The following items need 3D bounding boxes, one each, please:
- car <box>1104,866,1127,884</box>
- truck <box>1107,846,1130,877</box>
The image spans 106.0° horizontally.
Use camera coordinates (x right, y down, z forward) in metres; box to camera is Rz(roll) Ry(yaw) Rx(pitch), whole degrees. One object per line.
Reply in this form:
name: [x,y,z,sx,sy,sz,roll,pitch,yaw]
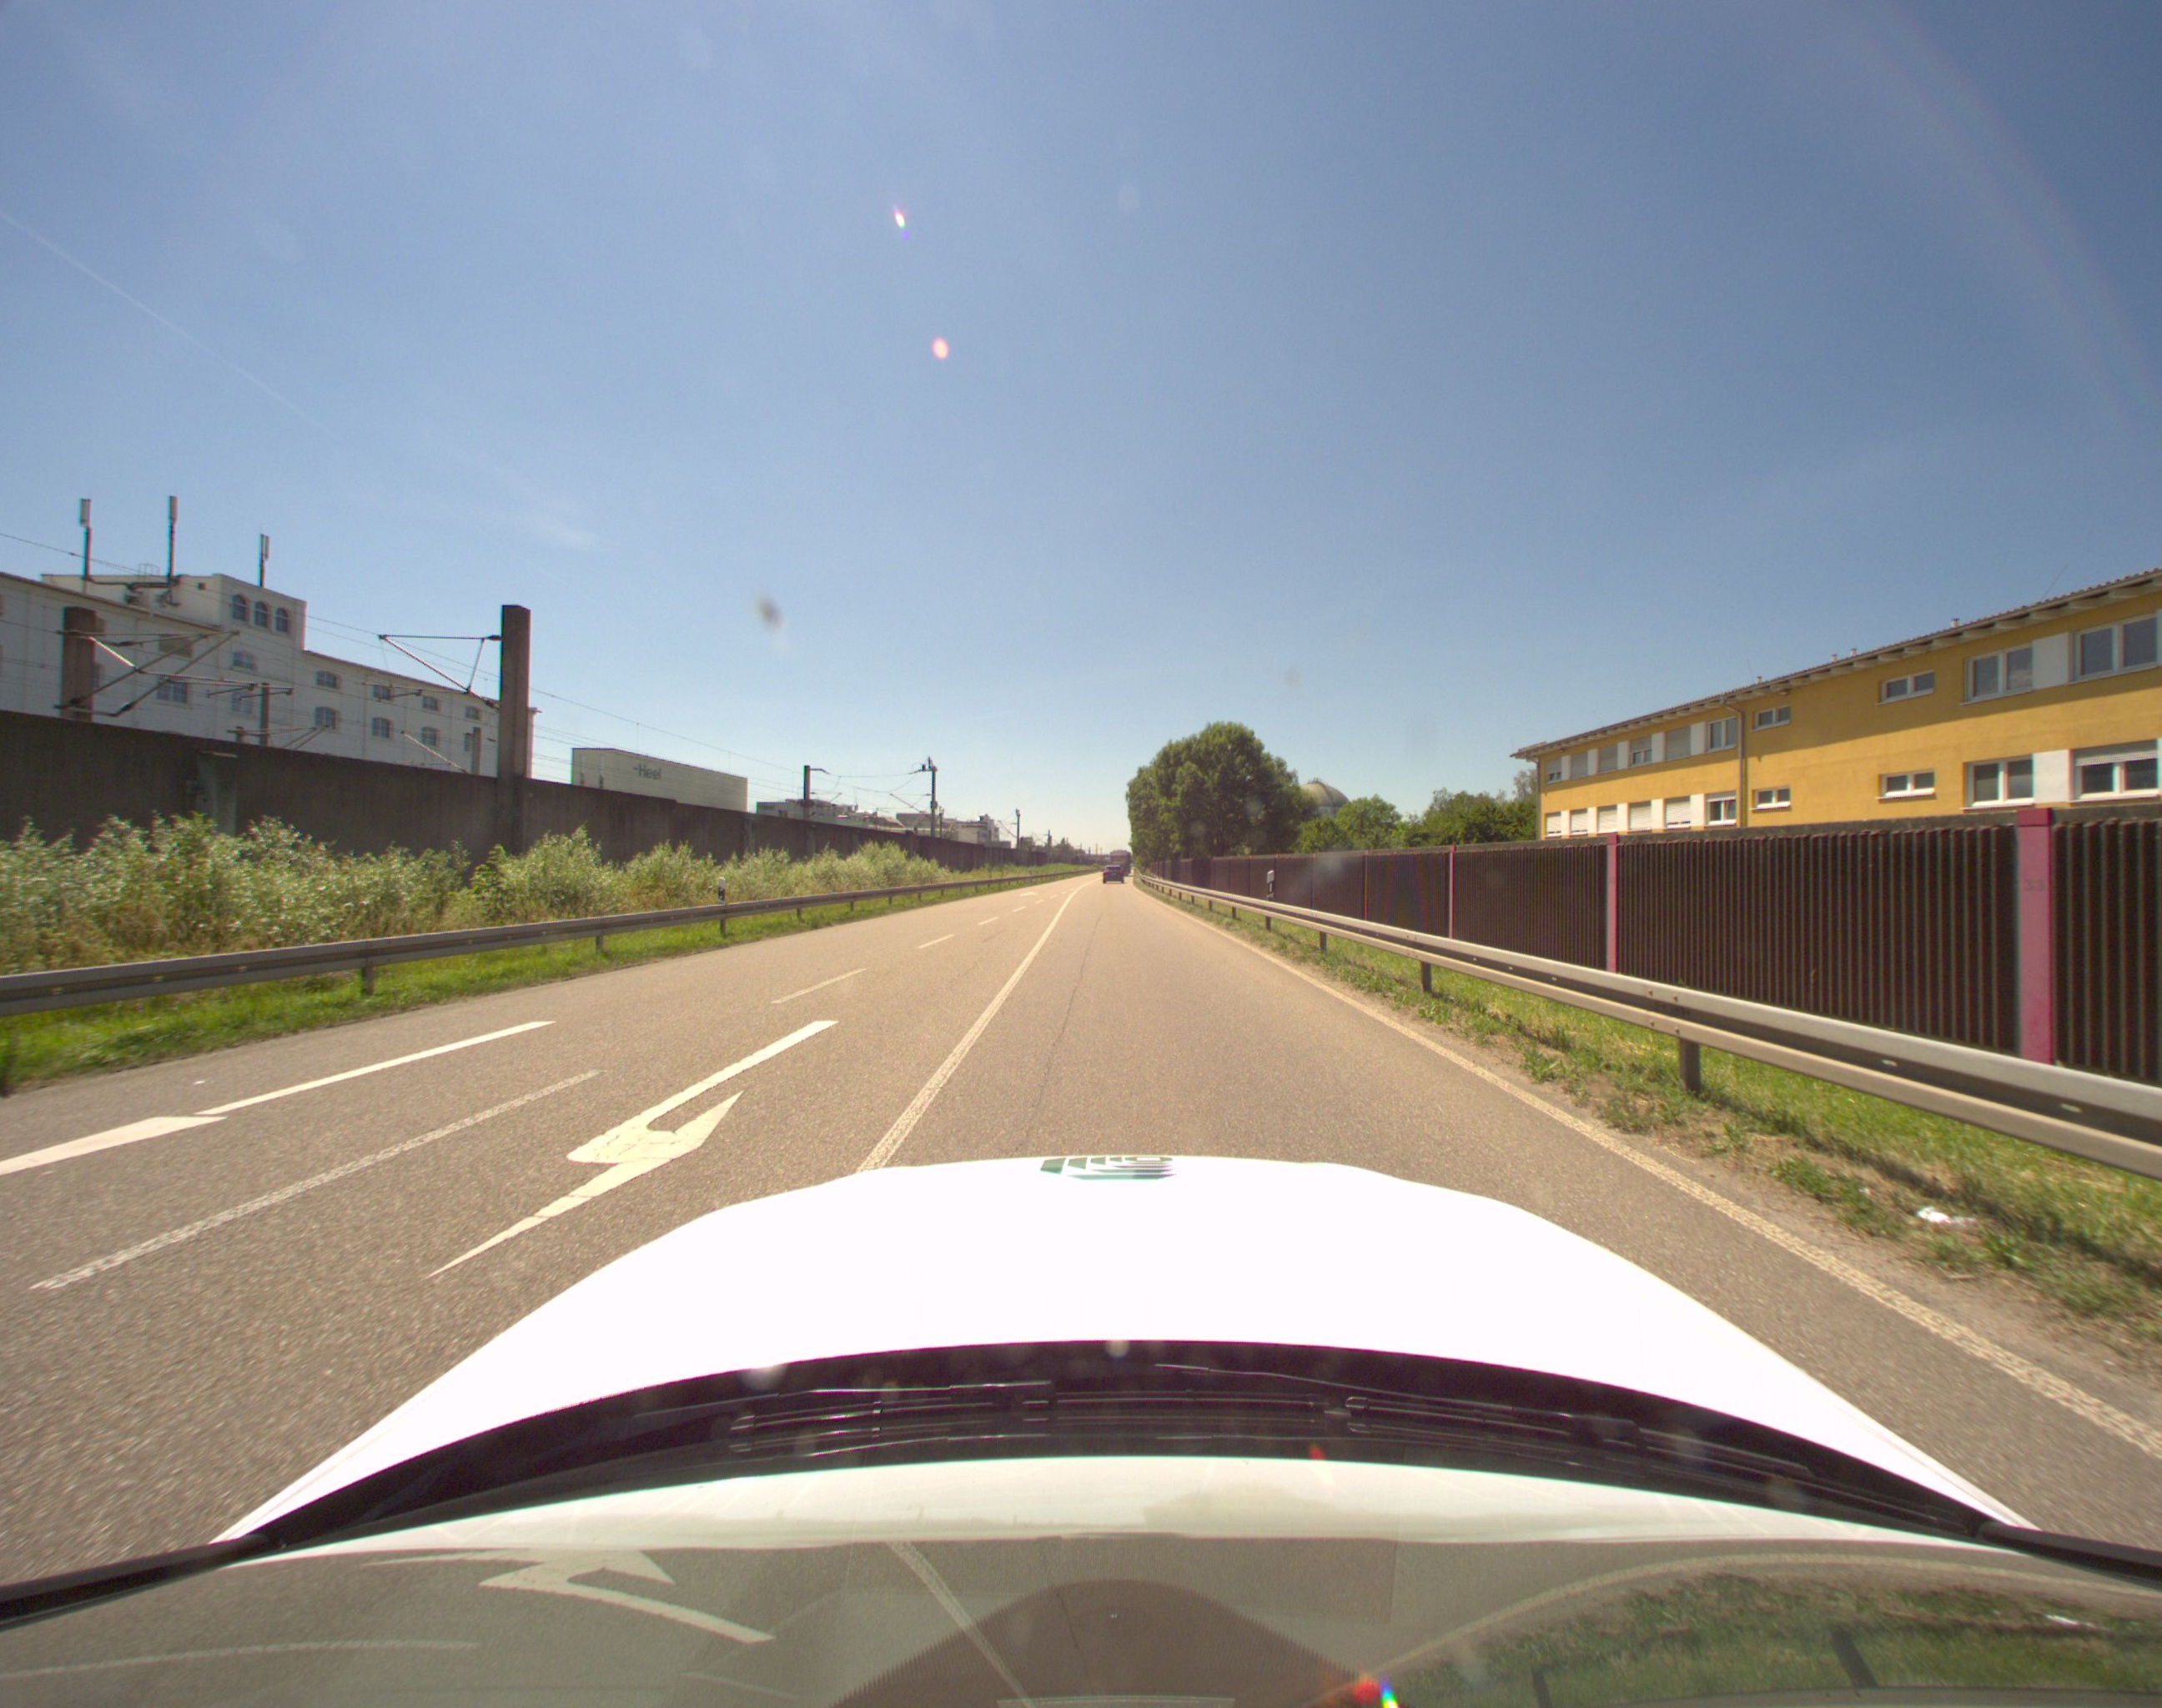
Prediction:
car: [2.997,1.846,70.476,1.985,1.503,4.002,0,-2,3]
truck: [5.319,1.202,115.279,2.983,4.181,11.815,-1,-2,3]
